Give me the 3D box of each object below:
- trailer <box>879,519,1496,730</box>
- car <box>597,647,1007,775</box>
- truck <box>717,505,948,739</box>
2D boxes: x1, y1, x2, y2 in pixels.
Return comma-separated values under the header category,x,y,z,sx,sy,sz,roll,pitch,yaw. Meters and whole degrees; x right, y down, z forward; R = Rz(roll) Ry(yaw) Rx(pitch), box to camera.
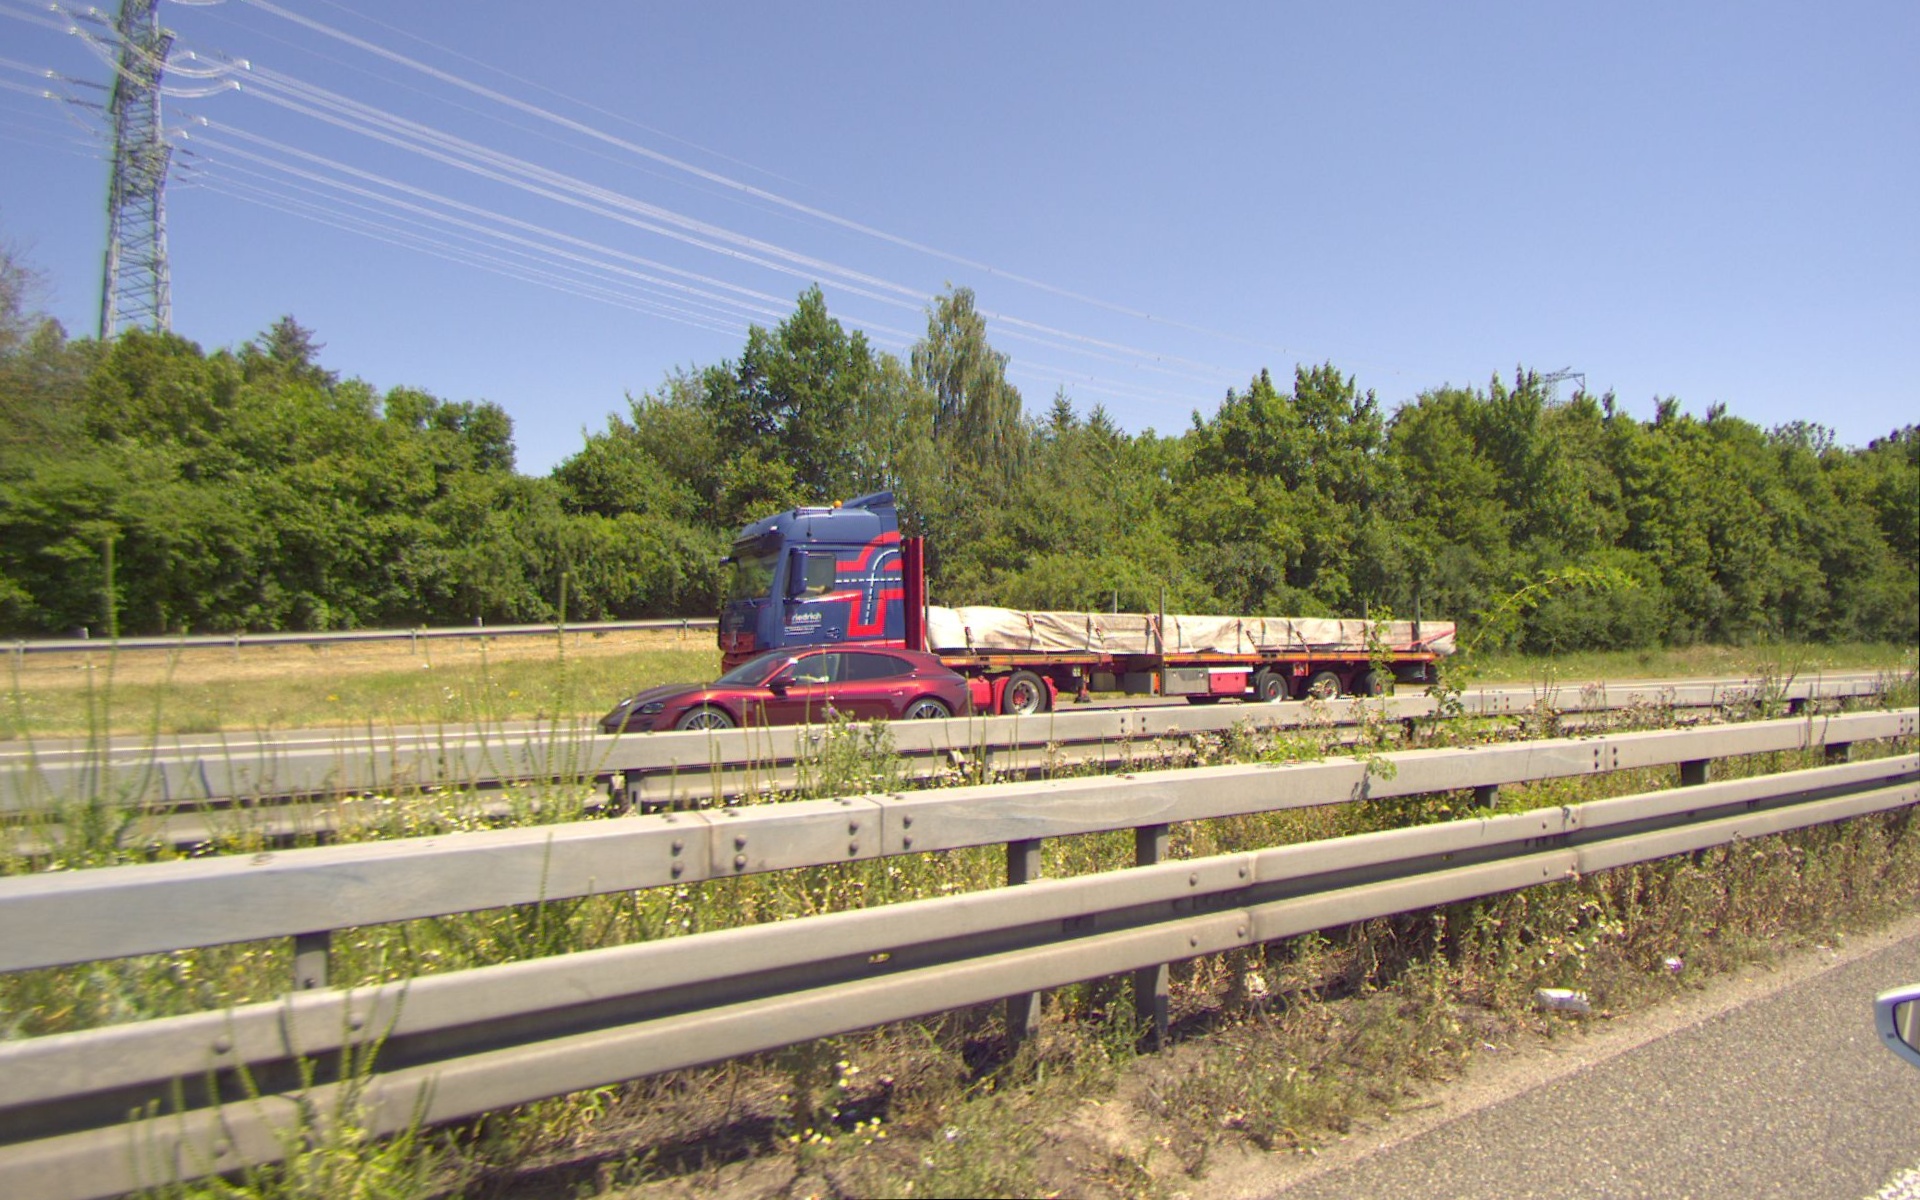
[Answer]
category,x,y,z,sx,sy,sz,roll,pitch,yaw
trailer,5.956,0.647,22.507,15.838,3.605,2.981,2,-2,-31
car,-1.901,1.280,12.761,4.864,1.352,1.761,2,-3,-30
truck,-2.280,0.402,17.563,3.082,3.605,2.982,2,-2,-30
